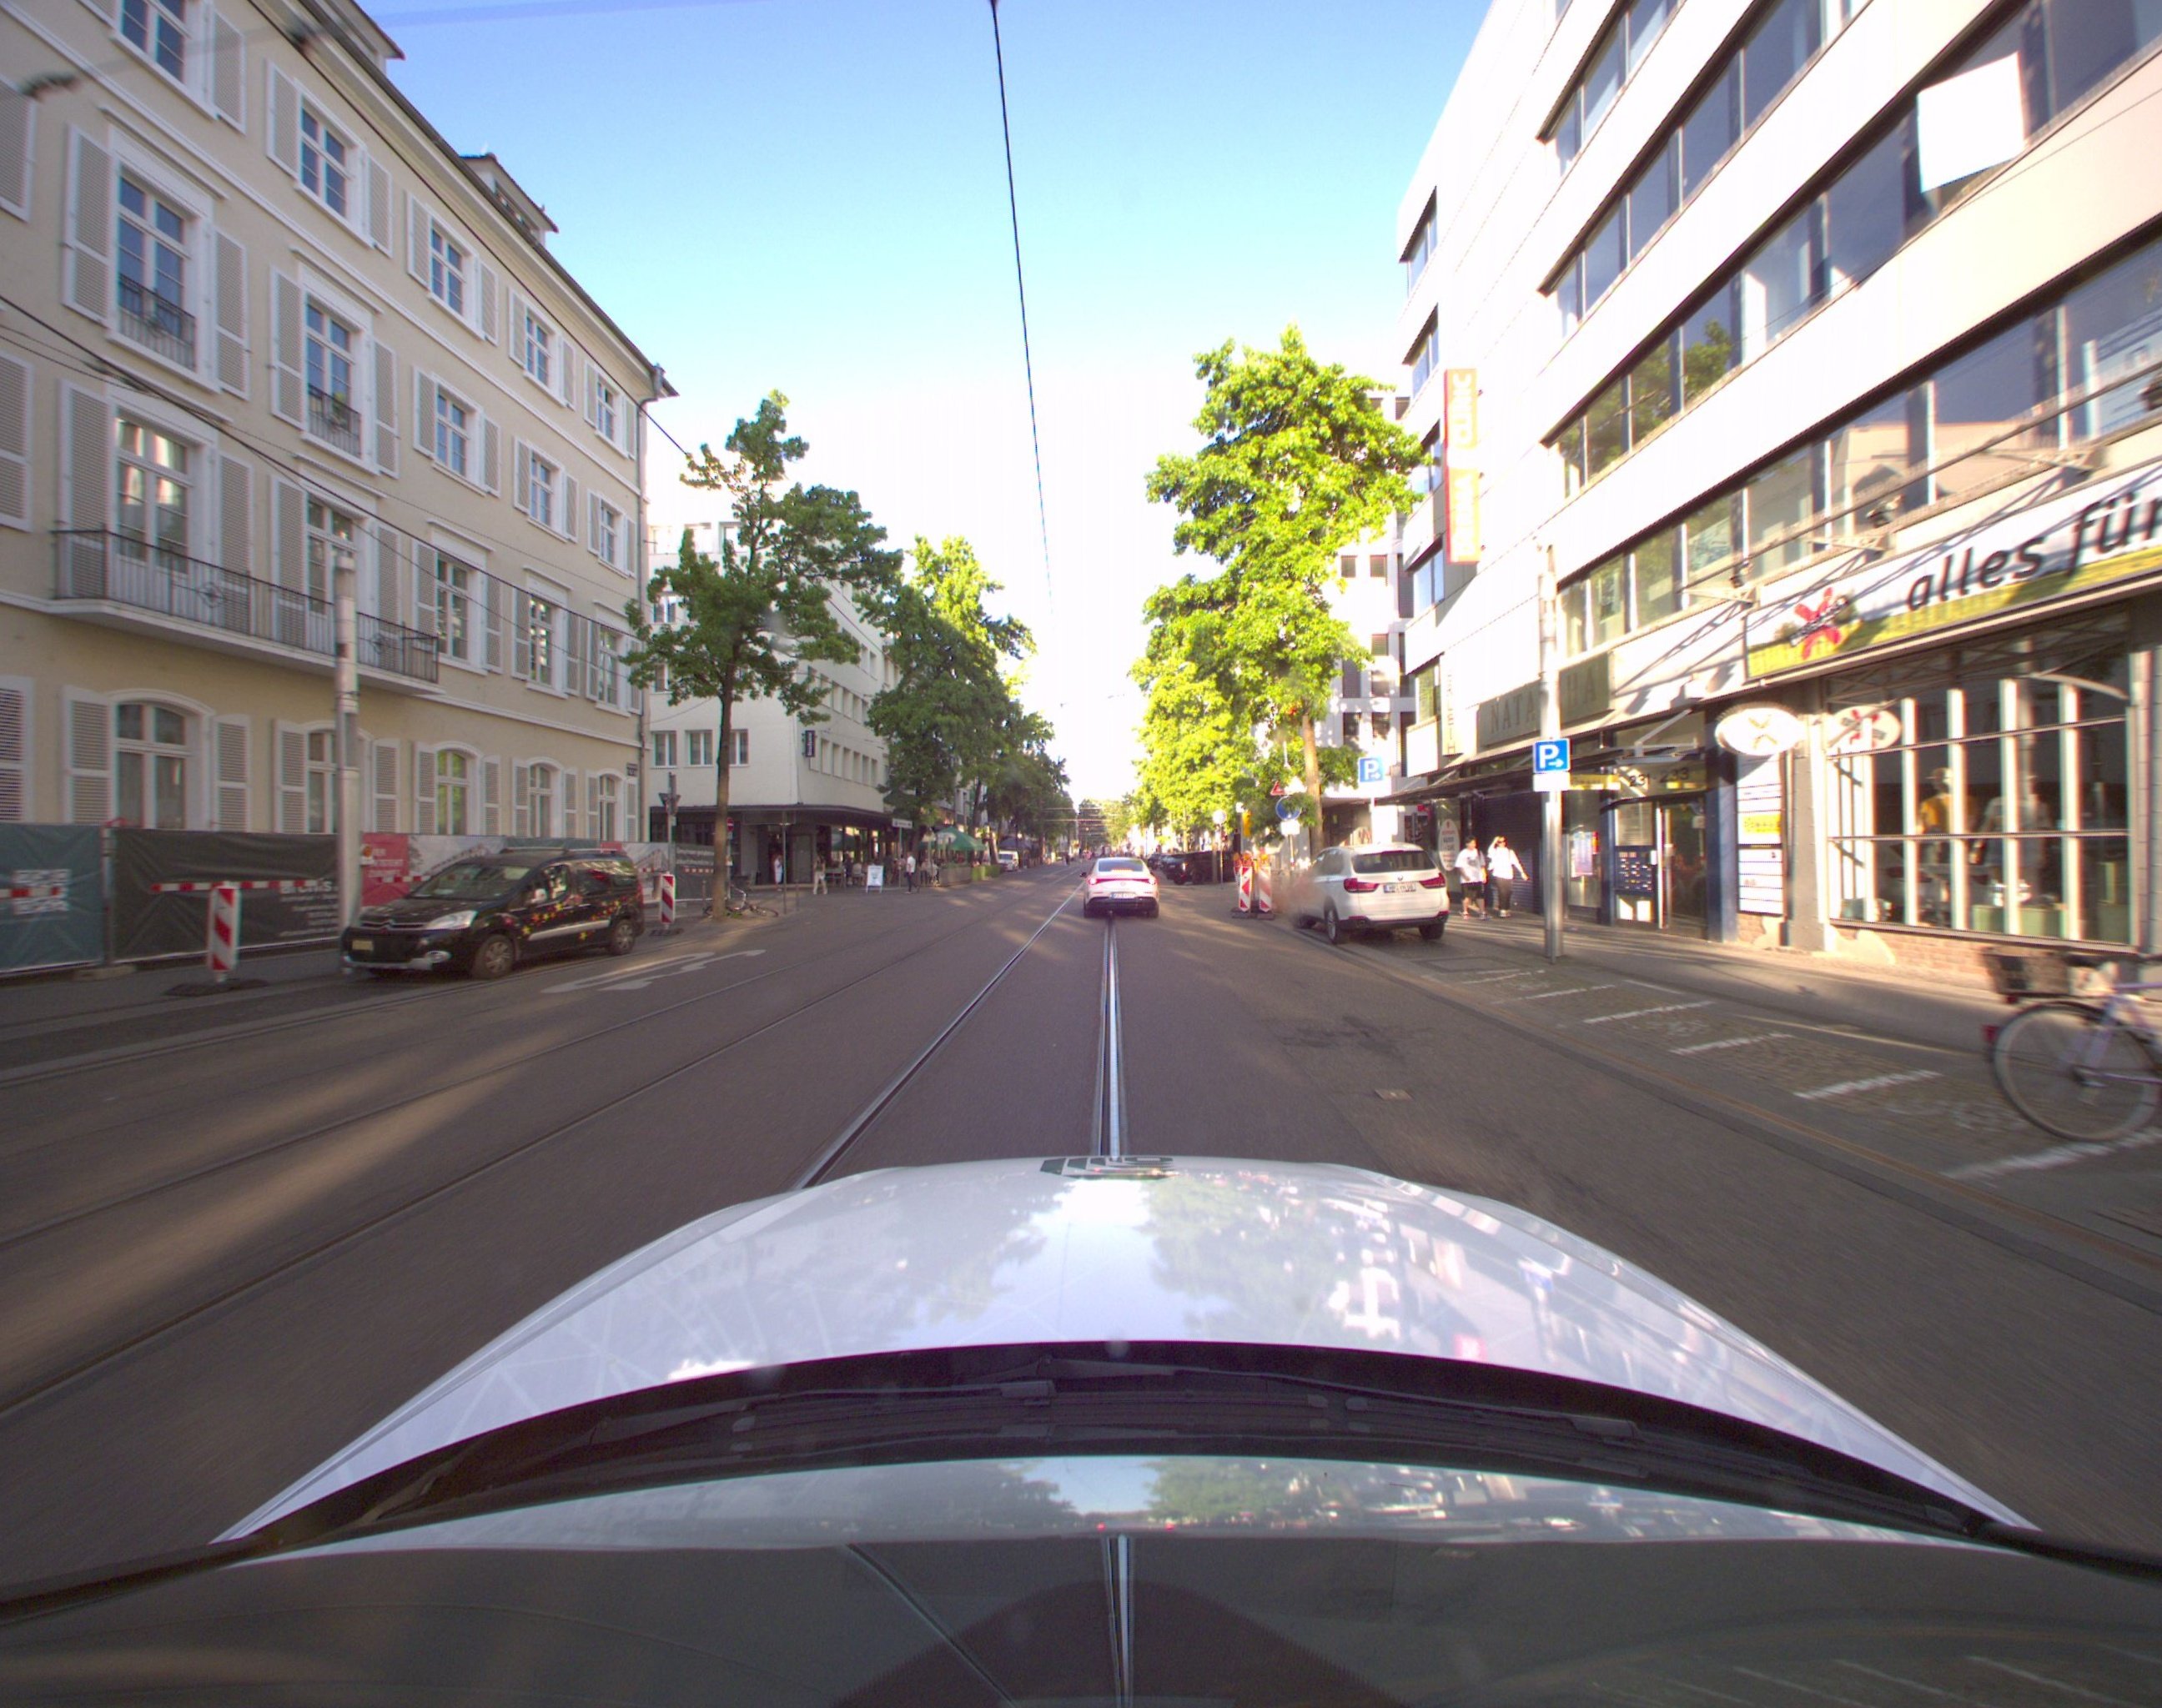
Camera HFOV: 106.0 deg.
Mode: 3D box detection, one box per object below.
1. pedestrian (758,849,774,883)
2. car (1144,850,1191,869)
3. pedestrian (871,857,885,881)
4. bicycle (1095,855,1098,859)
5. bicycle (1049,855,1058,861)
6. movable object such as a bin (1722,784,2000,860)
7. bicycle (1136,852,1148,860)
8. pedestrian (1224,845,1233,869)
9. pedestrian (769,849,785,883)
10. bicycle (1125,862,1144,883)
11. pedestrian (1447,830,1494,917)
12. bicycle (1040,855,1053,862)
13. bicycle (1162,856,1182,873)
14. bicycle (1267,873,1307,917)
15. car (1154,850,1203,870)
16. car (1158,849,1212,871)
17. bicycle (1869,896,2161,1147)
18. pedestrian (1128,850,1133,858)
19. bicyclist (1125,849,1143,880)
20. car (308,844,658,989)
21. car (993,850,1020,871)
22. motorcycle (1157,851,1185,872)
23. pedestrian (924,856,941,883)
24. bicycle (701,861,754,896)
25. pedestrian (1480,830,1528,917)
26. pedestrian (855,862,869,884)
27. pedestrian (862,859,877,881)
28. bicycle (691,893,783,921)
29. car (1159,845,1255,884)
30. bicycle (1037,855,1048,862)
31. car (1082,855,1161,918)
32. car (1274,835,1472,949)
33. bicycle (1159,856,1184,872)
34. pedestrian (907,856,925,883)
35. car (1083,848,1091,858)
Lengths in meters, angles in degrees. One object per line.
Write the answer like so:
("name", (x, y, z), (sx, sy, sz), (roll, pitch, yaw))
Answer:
("pedestrian", (-15.415, 0.581, 39.862), (0.399, 1.604, 0.625), (-1, 0, 35))
("car", (8.469, 0.537, 79.713), (4.369, 1.652, 1.678), (-3, 0, -30))
("pedestrian", (-11.601, 0.854, 46.622), (0.600, 1.298, 0.687), (1, 0, 2))
("bicycle", (4.195, 0.725, 222.632), (0.797, 1.142, 2.257), (1, 0, 1))
("bicycle", (-4.771, 0.648, 140.671), (1.492, 1.029, 0.343), (0, 0, -9))
("movable object such as a bin", (32.830, -1.254, 34.758), (8.113, 2.910, 2.840), (-1, 0, 20))
("bicycle", (10.375, 0.396, 138.590), (1.908, 1.281, 0.608), (-3, 0, -10))
("pedestrian", (11.149, 0.221, 61.720), (0.521, 1.750, 0.559), (-3, 0, 4))
("pedestrian", (-14.637, 0.569, 39.222), (0.399, 1.604, 0.625), (-1, 0, 35))
("bicycle", (2.788, 0.951, 42.533), (0.714, 0.995, 2.065), (1, 0, 11))
("pedestrian", (8.356, 0.417, 17.492), (0.702, 1.830, 0.635), (-1, 0, 1))
("bicycle", (-5.139, 0.712, 121.262), (1.784, 1.077, 0.377), (0, 0, -3))
("bicycle", (6.869, 0.789, 61.467), (0.475, 1.163, 1.705), (-4, 0, 41))
("bicycle", (5.087, 0.983, 20.172), (0.491, 0.981, 1.930), (-1, 0, 0))
("car", (9.058, 0.538, 75.610), (4.262, 1.587, 1.866), (-3, 0, -30))
("car", (8.727, 0.482, 68.187), (4.174, 1.571, 1.836), (-3, 0, -31))
("bicycle", (5.554, 0.831, 4.298), (1.802, 1.135, 0.843), (-3, -1, 9))
("pedestrian", (11.937, 0.069, 195.823), (0.957, 1.785, 0.804), (-3, 0, 1))
("bicyclist", (2.748, 0.543, 42.296), (0.772, 1.613, 0.915), (1, 0, 11))
("car", (-8.797, 0.787, 12.627), (1.849, 1.832, 4.563), (0, 0, 3))
("car", (-6.767, 0.567, 74.585), (1.788, 1.864, 4.557), (2, 0, 3))
("motorcycle", (7.207, 0.594, 65.048), (2.332, 1.509, 0.849), (-3, -1, -42))
("pedestrian", (-7.639, 0.801, 41.969), (0.686, 1.386, 0.807), (1, 0, 3))
("bicycle", (-14.802, 1.006, 34.112), (1.866, 1.380, 0.713), (-1, 3, 3))
("pedestrian", (9.093, 0.409, 17.534), (0.685, 1.830, 0.635), (-1, 0, 1))
("pedestrian", (-11.932, 1.034, 44.396), (0.550, 1.161, 0.687), (1, 0, 2))
("pedestrian", (-11.483, 0.844, 44.214), (0.550, 1.161, 0.687), (1, 0, 2))
("bicycle", (-8.905, 1.361, 21.175), (1.787, 0.609, 1.284), (0, 0, 5))
("car", (6.652, 0.555, 43.033), (4.678, 1.763, 1.976), (-4, 0, -28))
("bicycle", (-5.538, 0.664, 118.042), (1.586, 0.930, 0.378), (0, 0, 8))
("car", (1.014, 0.762, 21.029), (1.850, 1.455, 4.177), (0, 0, 2))
("car", (5.366, 0.622, 15.795), (2.016, 1.737, 4.907), (-4, 0, 0))
("bicycle", (7.055, 0.812, 63.483), (1.901, 1.119, 0.661), (-3, -1, -27))
("pedestrian", (-8.486, 0.794, 41.963), (0.686, 1.386, 0.807), (1, 0, 3))
("car", (1.882, -0.398, 250.013), (1.985, 2.897, 5.278), (-1, 0, 2))
